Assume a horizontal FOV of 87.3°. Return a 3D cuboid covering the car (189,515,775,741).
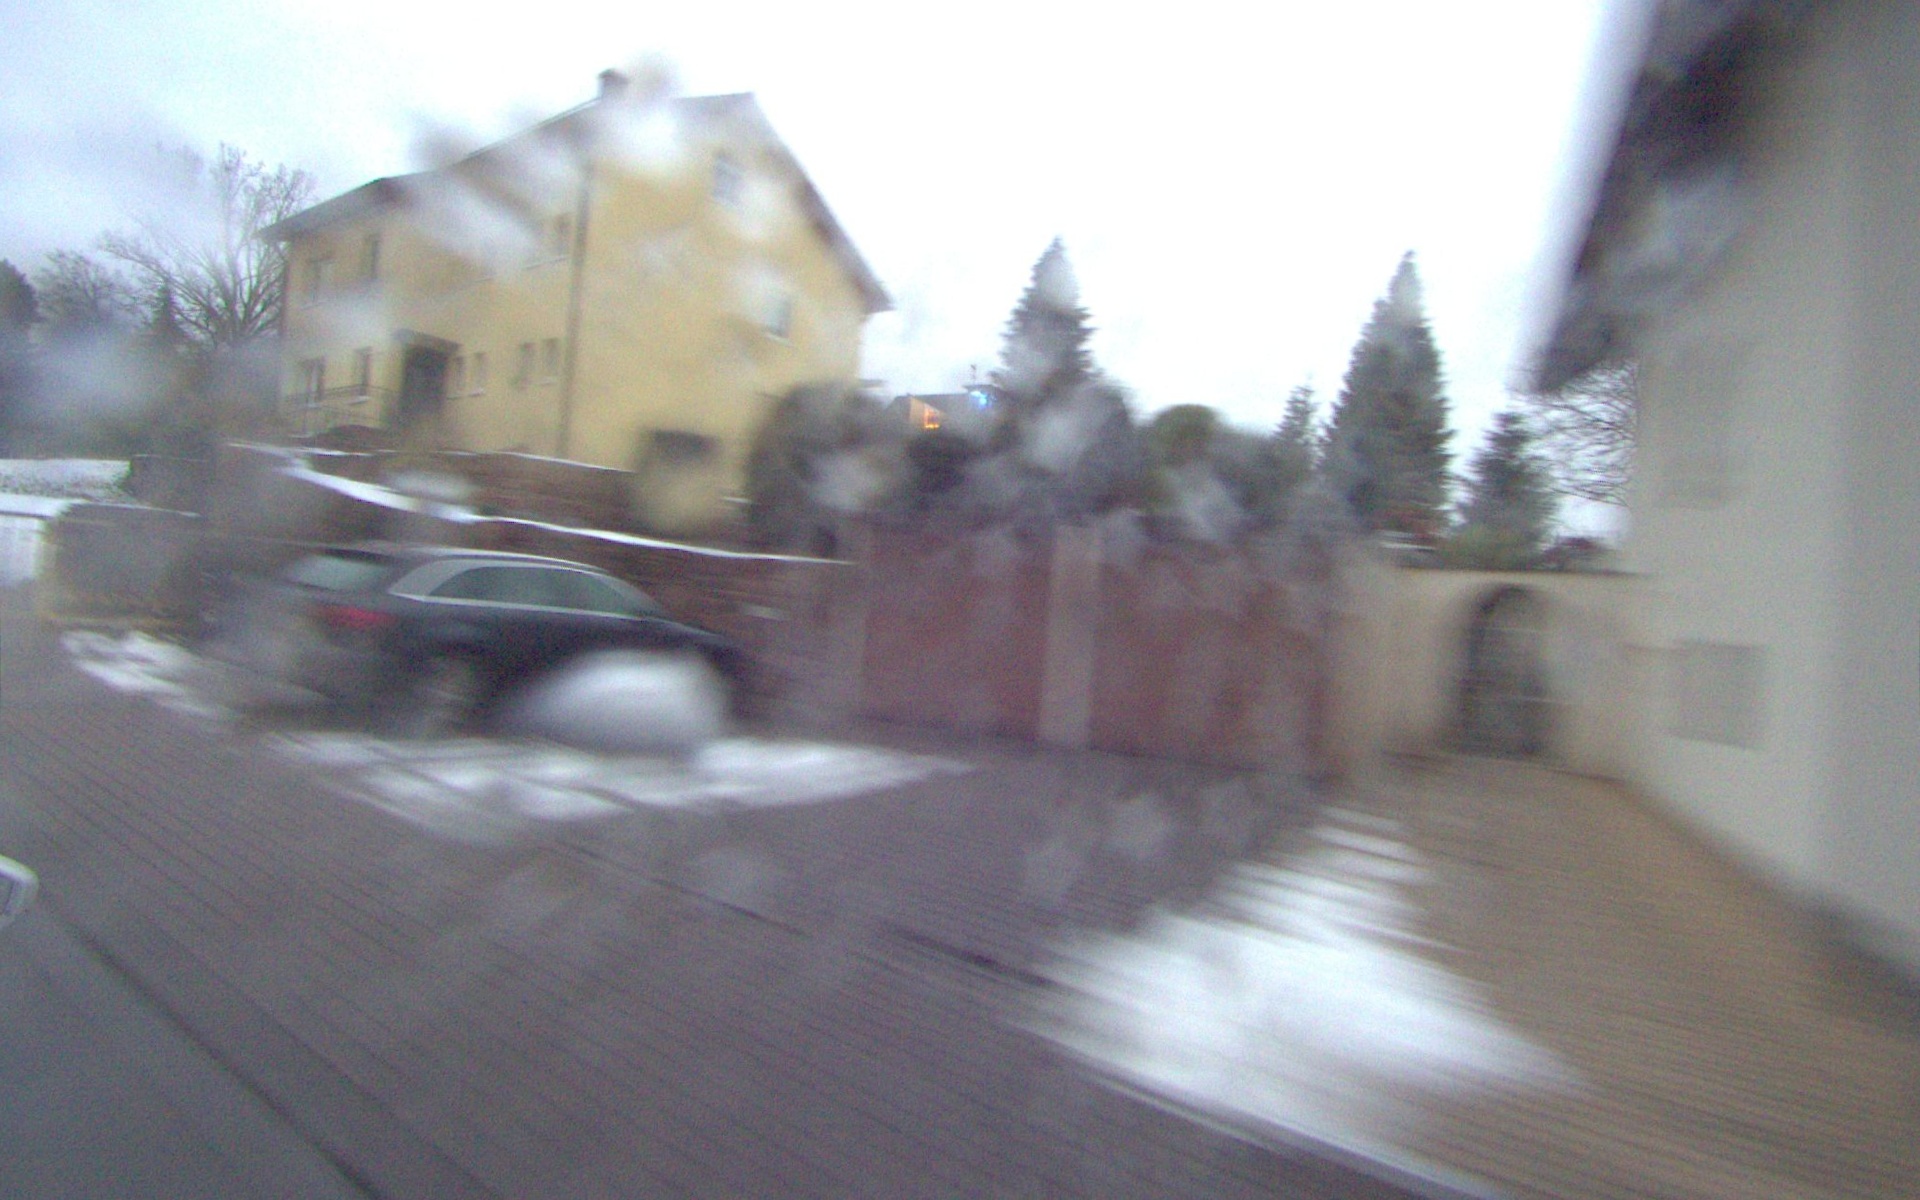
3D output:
[{"bbox_3d":[-4.060,0.275,9.378,1.967,1.462,4.507,7,1,32],"label":"car"}]
